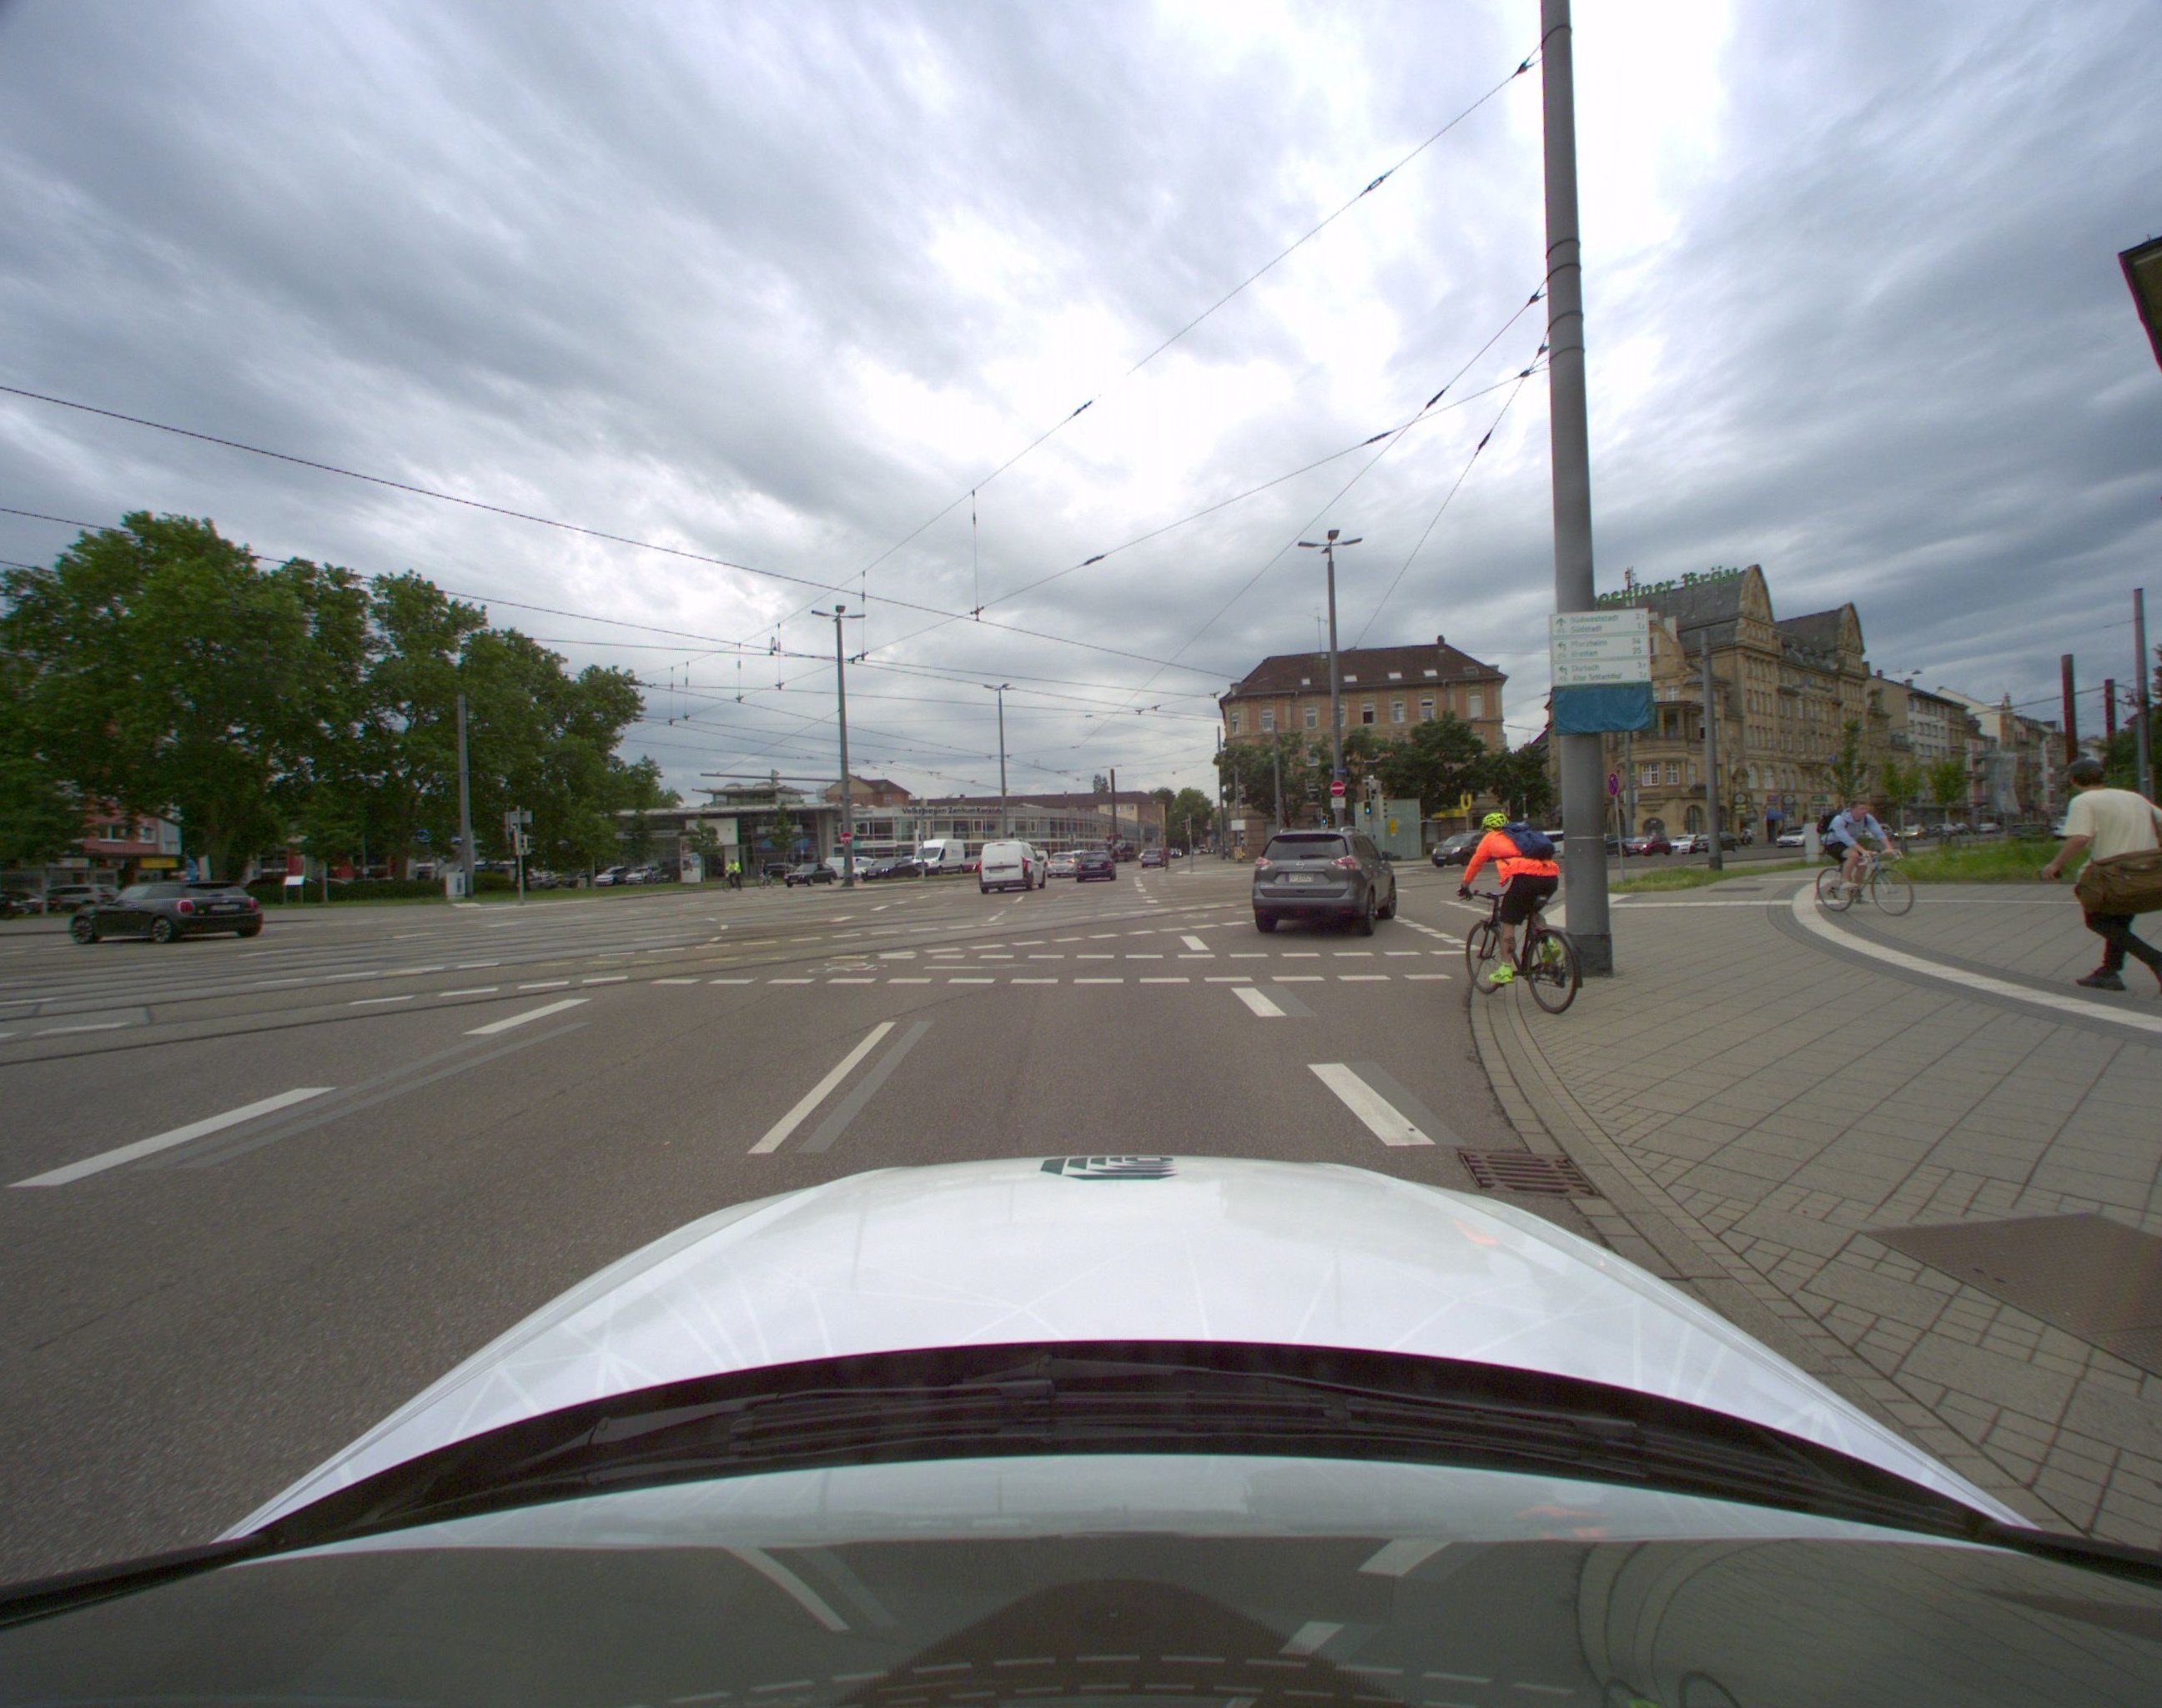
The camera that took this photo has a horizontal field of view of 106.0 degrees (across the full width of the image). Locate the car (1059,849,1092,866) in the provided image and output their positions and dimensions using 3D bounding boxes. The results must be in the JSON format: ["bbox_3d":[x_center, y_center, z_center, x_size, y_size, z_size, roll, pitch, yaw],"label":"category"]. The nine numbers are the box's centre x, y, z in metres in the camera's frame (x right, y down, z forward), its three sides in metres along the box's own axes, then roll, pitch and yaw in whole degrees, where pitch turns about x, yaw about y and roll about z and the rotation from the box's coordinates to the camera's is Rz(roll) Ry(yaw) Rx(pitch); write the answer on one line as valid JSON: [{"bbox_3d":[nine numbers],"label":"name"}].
[{"bbox_3d":[-0.592,0.407,92.852,1.975,1.839,4.549,-2,0,24],"label":"car"}]

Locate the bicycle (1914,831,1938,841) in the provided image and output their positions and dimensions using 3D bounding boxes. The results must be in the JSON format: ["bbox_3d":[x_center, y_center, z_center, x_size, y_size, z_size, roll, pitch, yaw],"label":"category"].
[{"bbox_3d":[97.368,-2.073,93.874,0.465,1.001,1.905,-1,0,-40],"label":"bicycle"}]

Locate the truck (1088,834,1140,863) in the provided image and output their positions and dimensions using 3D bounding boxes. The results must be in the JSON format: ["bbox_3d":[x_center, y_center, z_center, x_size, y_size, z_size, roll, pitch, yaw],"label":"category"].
[{"bbox_3d":[4.267,-0.654,102.859,2.768,3.549,9.279,-1,0,27],"label":"truck"}]

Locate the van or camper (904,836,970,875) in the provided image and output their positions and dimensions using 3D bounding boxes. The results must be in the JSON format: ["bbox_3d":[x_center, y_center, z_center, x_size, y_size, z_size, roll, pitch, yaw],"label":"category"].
[{"bbox_3d":[-10.132,0.135,57.773,2.399,2.611,6.073,-1,0,13],"label":"van or camper"}]

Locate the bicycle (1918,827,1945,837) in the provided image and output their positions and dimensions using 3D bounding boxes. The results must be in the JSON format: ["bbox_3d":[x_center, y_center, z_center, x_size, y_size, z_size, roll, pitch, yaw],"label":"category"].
[{"bbox_3d":[101.812,-2.581,97.505,0.506,1.126,2.212,-1,0,-40],"label":"bicycle"}]

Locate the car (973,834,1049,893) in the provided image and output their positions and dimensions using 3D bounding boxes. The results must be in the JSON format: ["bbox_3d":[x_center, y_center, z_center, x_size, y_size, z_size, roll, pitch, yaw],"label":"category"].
[{"bbox_3d":[-2.463,0.327,29.656,1.902,1.940,4.139,-2,0,7],"label":"car"}]

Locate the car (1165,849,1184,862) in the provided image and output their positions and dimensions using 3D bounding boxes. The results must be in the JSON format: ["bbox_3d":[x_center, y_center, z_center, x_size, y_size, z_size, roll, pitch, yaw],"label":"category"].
[{"bbox_3d":[14.501,0.234,125.912,1.977,1.839,4.545,-2,0,19],"label":"car"}]

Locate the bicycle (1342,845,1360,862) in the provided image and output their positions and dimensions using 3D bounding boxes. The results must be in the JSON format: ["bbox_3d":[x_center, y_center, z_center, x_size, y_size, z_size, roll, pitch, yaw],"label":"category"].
[{"bbox_3d":[21.596,-0.042,65.087,0.949,1.354,3.139,-1,0,26],"label":"bicycle"}]

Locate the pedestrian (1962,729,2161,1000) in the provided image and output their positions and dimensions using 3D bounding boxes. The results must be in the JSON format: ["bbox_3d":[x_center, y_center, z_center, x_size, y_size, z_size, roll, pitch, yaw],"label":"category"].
[{"bbox_3d":[7.916,0.061,6.237,0.881,1.867,1.286,-2,0,1],"label":"pedestrian"}]

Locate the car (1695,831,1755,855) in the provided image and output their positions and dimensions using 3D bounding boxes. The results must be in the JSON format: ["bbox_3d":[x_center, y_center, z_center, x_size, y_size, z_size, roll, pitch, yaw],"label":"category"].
[{"bbox_3d":[42.466,-0.736,53.714,4.011,1.442,1.678,-2,0,-29],"label":"car"}]

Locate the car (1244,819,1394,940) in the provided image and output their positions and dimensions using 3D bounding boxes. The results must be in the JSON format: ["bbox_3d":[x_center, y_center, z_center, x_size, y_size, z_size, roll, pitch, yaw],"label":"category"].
[{"bbox_3d":[4.226,0.359,14.011,1.733,1.756,3.947,-2,0,27],"label":"car"}]

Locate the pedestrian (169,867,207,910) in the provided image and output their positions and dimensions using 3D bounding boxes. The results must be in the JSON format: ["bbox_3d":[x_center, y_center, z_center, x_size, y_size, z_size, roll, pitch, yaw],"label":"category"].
[{"bbox_3d":[-37.326,1.425,34.051,0.919,1.720,0.700,0,-1,-33],"label":"pedestrian"}]

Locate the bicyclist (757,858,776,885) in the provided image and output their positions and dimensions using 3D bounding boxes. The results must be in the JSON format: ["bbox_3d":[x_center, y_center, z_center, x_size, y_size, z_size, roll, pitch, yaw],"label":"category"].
[{"bbox_3d":[-18.435,1.022,47.673,0.561,1.508,0.860,-2,1,16],"label":"bicyclist"}]

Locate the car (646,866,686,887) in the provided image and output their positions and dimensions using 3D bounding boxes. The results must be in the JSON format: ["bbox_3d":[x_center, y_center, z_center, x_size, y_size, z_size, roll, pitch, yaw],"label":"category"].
[{"bbox_3d":[-42.539,2.283,83.480,1.987,2.014,4.000,-1,0,1],"label":"car"}]

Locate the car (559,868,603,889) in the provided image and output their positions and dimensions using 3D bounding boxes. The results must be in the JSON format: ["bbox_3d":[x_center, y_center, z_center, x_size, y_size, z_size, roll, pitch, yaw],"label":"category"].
[{"bbox_3d":[-50.991,2.429,83.172,1.987,2.014,4.000,-1,0,1],"label":"car"}]

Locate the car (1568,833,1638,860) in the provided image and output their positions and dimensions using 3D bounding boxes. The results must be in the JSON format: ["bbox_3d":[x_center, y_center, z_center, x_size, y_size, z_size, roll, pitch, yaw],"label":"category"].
[{"bbox_3d":[33.681,-0.482,52.503,4.313,1.534,1.852,-2,-2,-28],"label":"car"}]

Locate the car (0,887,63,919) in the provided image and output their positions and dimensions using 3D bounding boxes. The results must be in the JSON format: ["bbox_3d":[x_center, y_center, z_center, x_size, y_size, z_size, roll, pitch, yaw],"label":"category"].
[{"bbox_3d":[-55.915,2.571,41.828,4.006,1.552,1.984,-2,0,-24],"label":"car"}]

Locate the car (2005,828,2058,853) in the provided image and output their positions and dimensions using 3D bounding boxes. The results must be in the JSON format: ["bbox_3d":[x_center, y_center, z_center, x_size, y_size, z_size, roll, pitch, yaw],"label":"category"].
[{"bbox_3d":[61.119,-0.893,52.351,3.946,1.434,1.625,-2,-2,-33],"label":"car"}]

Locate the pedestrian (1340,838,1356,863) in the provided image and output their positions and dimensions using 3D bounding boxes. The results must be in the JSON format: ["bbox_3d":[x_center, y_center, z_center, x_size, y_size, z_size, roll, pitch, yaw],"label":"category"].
[{"bbox_3d":[19.185,-0.253,58.495,0.908,1.728,0.601,-2,0,-7],"label":"pedestrian"}]

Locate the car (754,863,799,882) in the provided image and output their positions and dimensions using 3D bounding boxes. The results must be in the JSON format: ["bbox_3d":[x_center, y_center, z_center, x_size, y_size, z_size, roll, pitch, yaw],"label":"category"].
[{"bbox_3d":[-25.335,1.522,67.899,1.623,1.420,3.753,-2,0,15],"label":"car"}]

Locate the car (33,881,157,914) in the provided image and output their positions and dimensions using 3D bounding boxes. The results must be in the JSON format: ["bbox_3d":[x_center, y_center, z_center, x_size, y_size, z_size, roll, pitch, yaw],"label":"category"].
[{"bbox_3d":[-56.169,2.453,46.512,4.006,1.706,1.984,-1,0,-25],"label":"car"}]

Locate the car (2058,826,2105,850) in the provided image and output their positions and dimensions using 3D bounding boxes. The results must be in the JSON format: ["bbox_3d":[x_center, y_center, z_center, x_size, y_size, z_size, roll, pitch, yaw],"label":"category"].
[{"bbox_3d":[75.251,-1.211,61.231,3.946,1.574,1.742,-2,-2,-33],"label":"car"}]

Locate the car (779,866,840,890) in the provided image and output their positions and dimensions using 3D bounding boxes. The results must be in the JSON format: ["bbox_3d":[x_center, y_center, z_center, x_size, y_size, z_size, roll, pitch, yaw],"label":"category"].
[{"bbox_3d":[-15.944,1.368,48.022,1.675,1.247,3.750,-2,0,12],"label":"car"}]

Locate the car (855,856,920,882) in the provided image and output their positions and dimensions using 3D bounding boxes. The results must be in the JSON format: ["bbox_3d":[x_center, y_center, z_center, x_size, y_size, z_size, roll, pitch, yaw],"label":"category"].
[{"bbox_3d":[-11.847,0.874,50.194,1.980,1.420,4.678,-2,0,12],"label":"car"}]

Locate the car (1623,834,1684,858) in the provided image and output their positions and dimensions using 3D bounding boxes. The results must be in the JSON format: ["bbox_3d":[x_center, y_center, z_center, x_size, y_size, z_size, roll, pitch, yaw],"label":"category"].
[{"bbox_3d":[38.819,-0.545,55.226,3.906,1.399,1.851,-2,-2,-29],"label":"car"}]

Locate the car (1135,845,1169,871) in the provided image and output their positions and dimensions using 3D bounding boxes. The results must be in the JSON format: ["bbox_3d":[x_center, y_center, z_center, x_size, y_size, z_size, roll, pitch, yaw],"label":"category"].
[{"bbox_3d":[5.896,0.337,67.148,1.978,2.014,4.018,-1,0,17],"label":"car"}]

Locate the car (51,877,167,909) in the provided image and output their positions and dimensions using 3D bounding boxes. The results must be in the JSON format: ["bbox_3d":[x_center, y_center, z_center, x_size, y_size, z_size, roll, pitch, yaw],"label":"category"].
[{"bbox_3d":[-58.651,2.319,49.227,4.006,1.706,1.984,-1,0,-25],"label":"car"}]

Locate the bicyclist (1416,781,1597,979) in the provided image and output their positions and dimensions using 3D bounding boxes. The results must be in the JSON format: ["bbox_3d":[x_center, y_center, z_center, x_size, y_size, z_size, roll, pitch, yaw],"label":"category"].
[{"bbox_3d":[3.822,0.214,7.447,0.826,1.621,1.318,-2,0,-7],"label":"bicyclist"}]

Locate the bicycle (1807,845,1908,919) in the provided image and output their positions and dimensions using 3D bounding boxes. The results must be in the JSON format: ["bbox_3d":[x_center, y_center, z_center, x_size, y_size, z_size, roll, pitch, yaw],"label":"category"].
[{"bbox_3d":[11.415,0.387,12.032,0.664,0.933,1.871,-5,0,32],"label":"bicycle"}]

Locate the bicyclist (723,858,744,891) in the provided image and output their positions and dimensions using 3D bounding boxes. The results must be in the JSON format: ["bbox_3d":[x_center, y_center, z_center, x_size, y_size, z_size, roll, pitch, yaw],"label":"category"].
[{"bbox_3d":[-19.118,1.113,44.847,0.623,1.803,0.801,-2,0,16],"label":"bicyclist"}]

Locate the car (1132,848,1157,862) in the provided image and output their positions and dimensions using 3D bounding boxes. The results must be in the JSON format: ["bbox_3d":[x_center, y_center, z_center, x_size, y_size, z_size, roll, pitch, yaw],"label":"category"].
[{"bbox_3d":[8.806,0.148,112.530,1.975,1.839,4.549,-2,0,24],"label":"car"}]

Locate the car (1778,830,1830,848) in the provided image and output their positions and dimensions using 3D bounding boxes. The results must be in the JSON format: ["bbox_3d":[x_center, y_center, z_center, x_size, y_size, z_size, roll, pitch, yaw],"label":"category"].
[{"bbox_3d":[59.427,-1.232,66.927,4.270,1.380,1.914,-2,0,-30],"label":"car"}]

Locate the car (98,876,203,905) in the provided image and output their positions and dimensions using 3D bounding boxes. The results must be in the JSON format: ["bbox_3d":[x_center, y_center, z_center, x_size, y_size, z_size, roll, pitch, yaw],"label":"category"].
[{"bbox_3d":[-60.432,2.313,52.971,4.006,1.706,1.984,-1,0,-25],"label":"car"}]

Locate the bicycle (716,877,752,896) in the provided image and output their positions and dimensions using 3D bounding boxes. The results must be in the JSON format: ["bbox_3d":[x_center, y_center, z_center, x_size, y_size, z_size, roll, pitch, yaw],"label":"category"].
[{"bbox_3d":[-19.127,1.773,44.926,0.514,0.930,2.233,-2,1,17],"label":"bicycle"}]

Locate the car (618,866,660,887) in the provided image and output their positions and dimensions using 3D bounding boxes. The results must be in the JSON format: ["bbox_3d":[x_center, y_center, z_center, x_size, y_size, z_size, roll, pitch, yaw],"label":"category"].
[{"bbox_3d":[-45.372,2.324,83.685,1.987,2.014,4.000,-1,0,1],"label":"car"}]

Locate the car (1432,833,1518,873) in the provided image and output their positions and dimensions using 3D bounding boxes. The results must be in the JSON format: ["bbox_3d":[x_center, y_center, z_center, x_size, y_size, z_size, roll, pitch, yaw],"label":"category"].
[{"bbox_3d":[20.037,-0.054,41.385,4.398,1.900,1.678,-2,0,-29],"label":"car"}]

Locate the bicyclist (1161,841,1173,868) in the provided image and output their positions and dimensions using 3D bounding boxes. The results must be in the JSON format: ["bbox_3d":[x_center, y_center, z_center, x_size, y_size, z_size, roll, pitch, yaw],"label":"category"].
[{"bbox_3d":[5.714,0.030,54.048,0.685,1.708,0.798,-2,0,0],"label":"bicyclist"}]

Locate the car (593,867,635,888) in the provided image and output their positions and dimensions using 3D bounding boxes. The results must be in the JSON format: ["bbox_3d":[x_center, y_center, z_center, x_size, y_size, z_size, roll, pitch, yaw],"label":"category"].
[{"bbox_3d":[-47.885,2.377,83.569,1.987,2.014,4.000,-1,0,1],"label":"car"}]

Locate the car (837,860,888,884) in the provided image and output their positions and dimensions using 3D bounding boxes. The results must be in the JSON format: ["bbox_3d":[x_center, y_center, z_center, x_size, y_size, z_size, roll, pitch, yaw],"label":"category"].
[{"bbox_3d":[-14.243,1.141,53.214,1.624,1.420,3.750,-2,0,12],"label":"car"}]

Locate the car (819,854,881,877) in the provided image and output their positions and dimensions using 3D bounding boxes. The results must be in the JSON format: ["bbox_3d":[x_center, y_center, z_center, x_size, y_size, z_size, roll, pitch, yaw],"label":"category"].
[{"bbox_3d":[-20.491,1.017,72.275,4.734,2.014,2.128,-1,0,12],"label":"car"}]

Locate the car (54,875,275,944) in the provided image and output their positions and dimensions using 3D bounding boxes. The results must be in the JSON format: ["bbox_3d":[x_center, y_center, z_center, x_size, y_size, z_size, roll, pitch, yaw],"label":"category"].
[{"bbox_3d":[-22.024,1.322,19.620,3.959,1.468,1.781,-2,0,12],"label":"car"}]

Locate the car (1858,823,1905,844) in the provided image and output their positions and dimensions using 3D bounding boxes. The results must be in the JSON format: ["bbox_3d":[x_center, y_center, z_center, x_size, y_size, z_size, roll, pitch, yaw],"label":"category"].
[{"bbox_3d":[71.914,-1.856,73.146,4.926,1.706,1.850,-2,-1,-32],"label":"car"}]

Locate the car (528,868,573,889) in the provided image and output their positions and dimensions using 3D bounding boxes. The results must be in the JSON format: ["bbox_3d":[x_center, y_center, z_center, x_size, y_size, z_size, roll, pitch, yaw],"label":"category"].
[{"bbox_3d":[-54.157,2.462,83.225,1.987,2.014,4.000,-1,0,1],"label":"car"}]

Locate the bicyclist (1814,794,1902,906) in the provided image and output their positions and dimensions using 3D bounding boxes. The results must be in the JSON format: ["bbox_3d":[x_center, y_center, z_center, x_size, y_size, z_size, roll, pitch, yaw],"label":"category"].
[{"bbox_3d":[11.402,-0.062,11.985,0.684,1.560,0.932,-4,0,31],"label":"bicyclist"}]

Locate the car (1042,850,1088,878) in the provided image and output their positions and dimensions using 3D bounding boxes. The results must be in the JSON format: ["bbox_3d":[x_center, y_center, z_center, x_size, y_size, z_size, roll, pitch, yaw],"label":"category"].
[{"bbox_3d":[-0.893,0.565,47.551,1.841,1.508,4.013,-1,0,12],"label":"car"}]

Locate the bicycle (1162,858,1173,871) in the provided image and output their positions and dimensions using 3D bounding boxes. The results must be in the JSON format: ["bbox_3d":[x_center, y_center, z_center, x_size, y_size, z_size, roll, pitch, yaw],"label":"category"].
[{"bbox_3d":[5.739,0.693,54.055,0.617,0.793,1.592,-2,0,1],"label":"bicycle"}]

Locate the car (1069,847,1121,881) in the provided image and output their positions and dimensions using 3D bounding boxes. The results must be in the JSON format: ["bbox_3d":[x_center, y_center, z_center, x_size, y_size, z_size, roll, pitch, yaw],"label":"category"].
[{"bbox_3d":[0.697,0.442,37.987,1.983,1.420,4.008,-2,0,7],"label":"car"}]

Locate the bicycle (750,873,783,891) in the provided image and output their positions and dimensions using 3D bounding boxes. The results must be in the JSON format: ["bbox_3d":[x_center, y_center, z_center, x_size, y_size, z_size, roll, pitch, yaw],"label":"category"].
[{"bbox_3d":[-18.396,1.649,47.724,0.514,0.926,2.233,-2,1,17],"label":"bicycle"}]

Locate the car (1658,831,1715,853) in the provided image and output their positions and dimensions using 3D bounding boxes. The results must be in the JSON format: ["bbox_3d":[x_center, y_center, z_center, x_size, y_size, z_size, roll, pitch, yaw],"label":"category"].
[{"bbox_3d":[43.845,-0.854,58.956,4.377,1.380,1.734,-2,-3,-32],"label":"car"}]

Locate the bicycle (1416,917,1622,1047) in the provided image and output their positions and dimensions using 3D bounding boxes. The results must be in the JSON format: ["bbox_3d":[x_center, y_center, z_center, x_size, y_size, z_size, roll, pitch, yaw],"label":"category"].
[{"bbox_3d":[3.861,1.080,7.416,0.555,0.848,2.069,-2,0,-6],"label":"bicycle"}]

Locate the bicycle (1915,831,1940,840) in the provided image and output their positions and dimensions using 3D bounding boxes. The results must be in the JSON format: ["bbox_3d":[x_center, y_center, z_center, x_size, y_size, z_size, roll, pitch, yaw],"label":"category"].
[{"bbox_3d":[97.989,-2.164,94.314,0.465,1.001,1.949,-1,0,-40],"label":"bicycle"}]

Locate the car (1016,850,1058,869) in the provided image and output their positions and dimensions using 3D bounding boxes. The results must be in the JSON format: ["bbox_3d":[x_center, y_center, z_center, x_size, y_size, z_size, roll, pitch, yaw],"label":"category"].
[{"bbox_3d":[-4.476,0.540,83.880,2.138,1.856,5.476,-2,0,22],"label":"car"}]

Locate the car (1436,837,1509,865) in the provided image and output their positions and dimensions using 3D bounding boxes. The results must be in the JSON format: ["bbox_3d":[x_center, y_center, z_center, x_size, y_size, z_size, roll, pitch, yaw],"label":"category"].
[{"bbox_3d":[22.252,-0.190,46.249,4.011,1.442,1.678,-2,0,-29],"label":"car"}]

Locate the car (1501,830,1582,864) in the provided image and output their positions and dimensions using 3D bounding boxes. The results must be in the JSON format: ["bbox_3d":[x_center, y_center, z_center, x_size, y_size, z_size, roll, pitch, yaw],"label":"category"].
[{"bbox_3d":[28.192,-0.443,49.804,5.113,1.916,1.852,-2,0,-28],"label":"car"}]

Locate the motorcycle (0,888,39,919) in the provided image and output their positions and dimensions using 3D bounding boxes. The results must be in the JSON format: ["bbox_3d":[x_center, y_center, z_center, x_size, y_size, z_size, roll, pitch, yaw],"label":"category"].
[{"bbox_3d":[-43.005,1.972,31.932,2.548,1.178,0.859,-1,-1,-20],"label":"motorcycle"}]

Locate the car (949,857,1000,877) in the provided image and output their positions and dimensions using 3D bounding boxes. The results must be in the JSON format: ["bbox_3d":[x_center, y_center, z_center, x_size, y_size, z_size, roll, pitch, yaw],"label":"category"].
[{"bbox_3d":[-8.367,1.007,64.306,1.977,1.420,4.825,-2,0,19],"label":"car"}]
